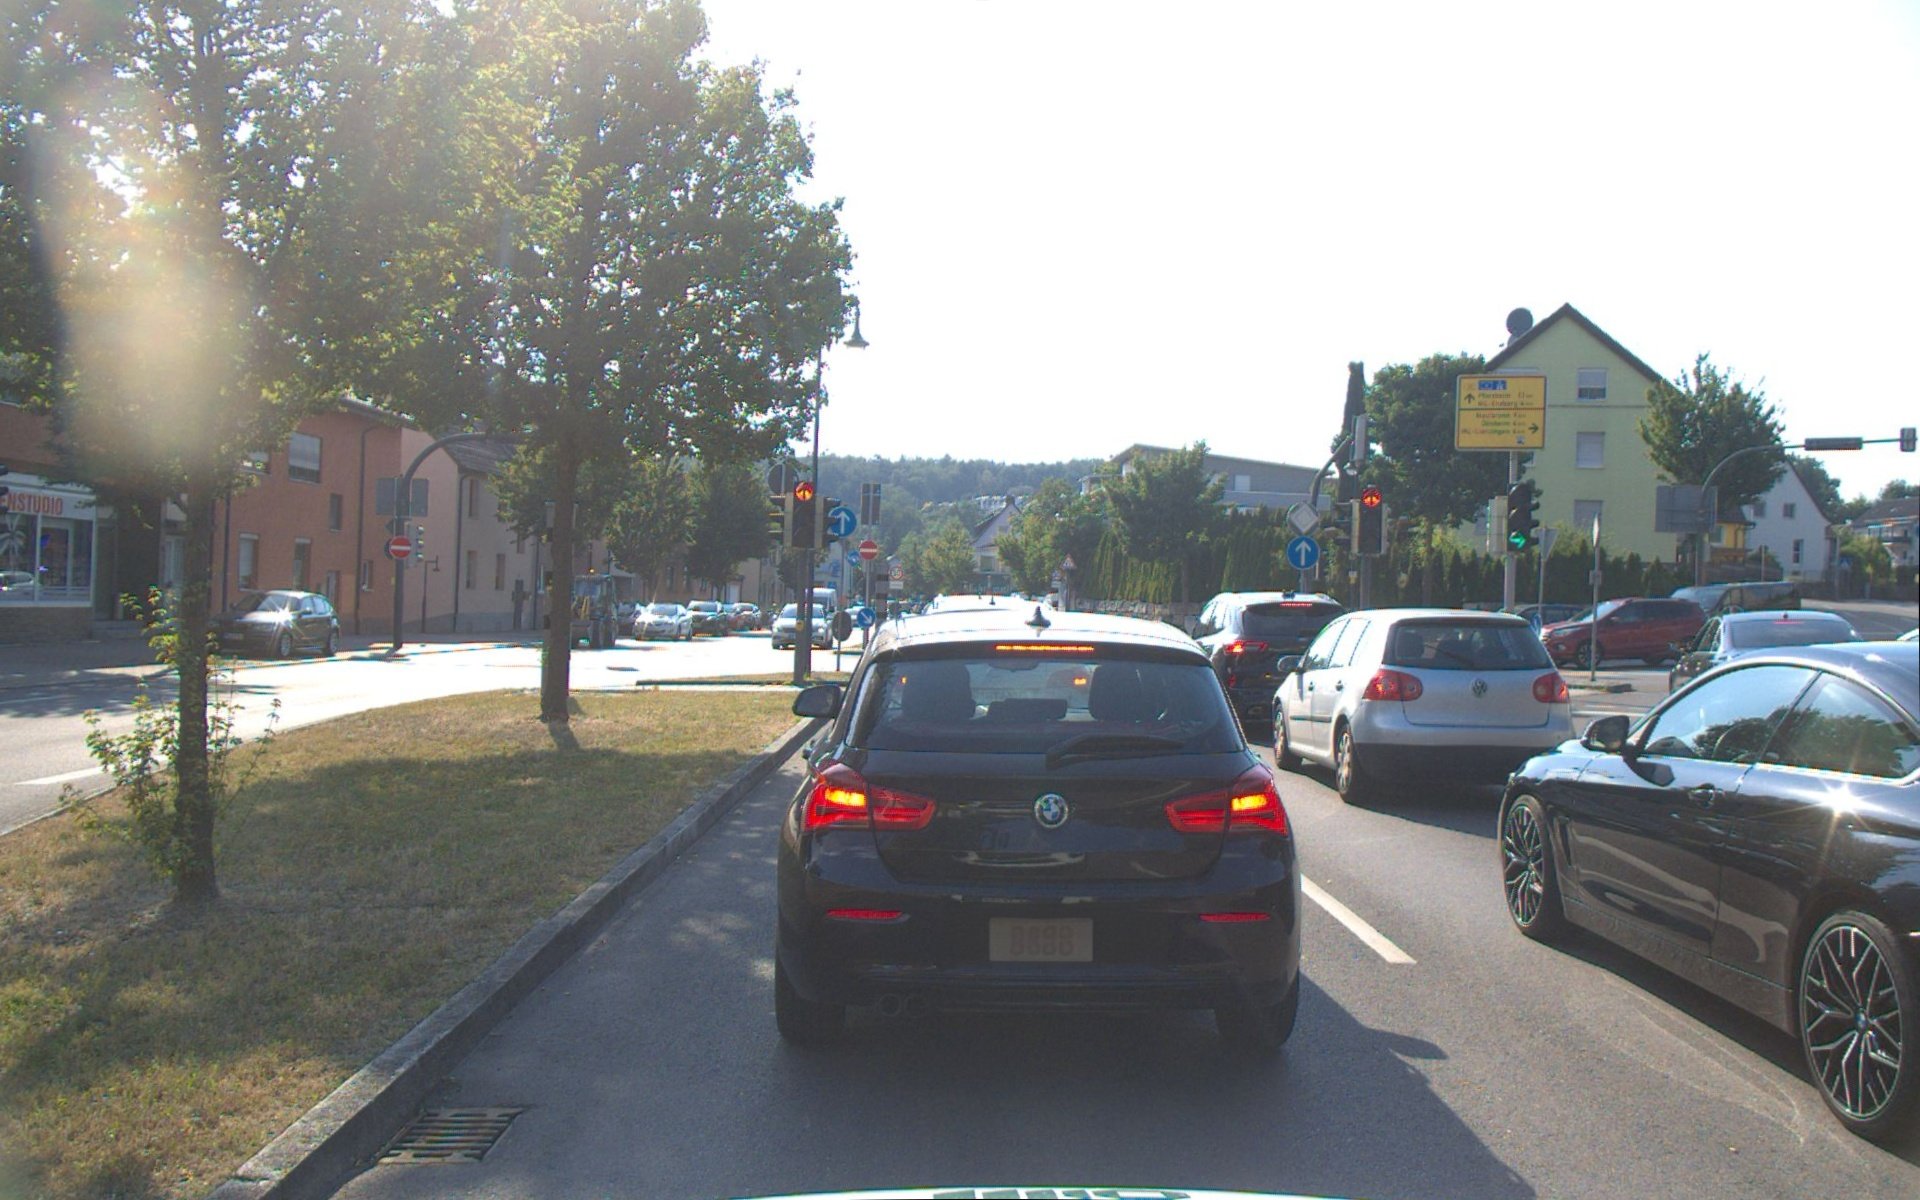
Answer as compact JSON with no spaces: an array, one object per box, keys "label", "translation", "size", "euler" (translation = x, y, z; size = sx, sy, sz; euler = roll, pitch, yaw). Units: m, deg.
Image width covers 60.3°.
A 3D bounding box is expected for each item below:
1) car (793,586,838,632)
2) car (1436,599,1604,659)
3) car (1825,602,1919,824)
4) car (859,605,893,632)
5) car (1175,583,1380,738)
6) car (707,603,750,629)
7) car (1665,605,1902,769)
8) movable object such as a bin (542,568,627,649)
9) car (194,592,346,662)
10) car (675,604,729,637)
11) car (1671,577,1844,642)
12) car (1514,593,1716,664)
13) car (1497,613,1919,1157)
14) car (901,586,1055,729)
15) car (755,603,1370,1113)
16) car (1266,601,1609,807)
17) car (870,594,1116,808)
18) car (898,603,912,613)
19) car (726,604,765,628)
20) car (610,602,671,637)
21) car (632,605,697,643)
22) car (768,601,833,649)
[{"label":"car","translation":[-8.093,0.505,93.081],"size":[2.042,2.435,5.527],"euler":[1,0,-1]},{"label":"car","translation":[15.162,0.772,44.877],"size":[3.907,1.515,1.847],"euler":[1,0,-3]},{"label":"car","translation":[7.617,0.806,11.670],"size":[1.583,1.569,3.320],"euler":[-1,0,6]},{"label":"car","translation":[-4.918,1.086,97.376],"size":[1.801,1.508,4.000],"euler":[1,0,0]},{"label":"car","translation":[3.741,0.654,20.100],"size":[1.725,1.685,3.902],"euler":[-1,0,0]},{"label":"car","translation":[-13.548,0.948,96.974],"size":[1.701,1.323,3.800],"euler":[5,0,2]},{"label":"car","translation":[9.041,0.860,18.503],"size":[1.621,1.569,4.401],"euler":[-1,0,17]},{"label":"movable object such as a bin","translation":[-11.992,0.256,53.117],"size":[1.701,2.485,4.449],"euler":[0,0,0]},{"label":"car","translation":[-15.478,0.573,37.334],"size":[1.702,1.323,3.999],"euler":[5,0,-1]},{"label":"car","translation":[-12.064,0.951,77.472],"size":[1.701,1.323,3.800],"euler":[5,0,2]},{"label":"car","translation":[22.944,0.288,47.579],"size":[4.702,1.770,1.836],"euler":[1,0,-22]},{"label":"car","translation":[16.319,0.699,41.299],"size":[4.333,1.670,1.845],"euler":[1,0,-8]},{"label":"car","translation":[3.466,0.791,5.862],"size":[1.725,1.422,4.280],"euler":[-1,0,0]},{"label":"car","translation":[0.202,0.653,21.066],"size":[1.751,1.622,4.280],"euler":[-1,0,0]},{"label":"car","translation":[0.291,0.740,6.881],"size":[1.751,1.422,4.280],"euler":[-1,0,0]},{"label":"car","translation":[3.787,0.746,13.818],"size":[1.725,1.451,3.902],"euler":[-1,0,0]},{"label":"car","translation":[0.232,0.720,14.026],"size":[1.751,1.520,4.280],"euler":[-1,0,0]},{"label":"car","translation":[-8.155,1.142,247.129],"size":[1.701,1.323,3.800],"euler":[5,0,2]},{"label":"car","translation":[-13.315,0.972,102.675],"size":[1.701,1.323,3.800],"euler":[5,0,2]},{"label":"car","translation":[-14.113,0.837,73.229],"size":[1.701,1.323,4.001],"euler":[5,0,2]},{"label":"car","translation":[-11.913,0.946,66.798],"size":[1.701,1.323,3.800],"euler":[5,0,2]},{"label":"car","translation":[-5.314,0.806,55.450],"size":[1.801,1.508,4.000],"euler":[1,0,0]}]
